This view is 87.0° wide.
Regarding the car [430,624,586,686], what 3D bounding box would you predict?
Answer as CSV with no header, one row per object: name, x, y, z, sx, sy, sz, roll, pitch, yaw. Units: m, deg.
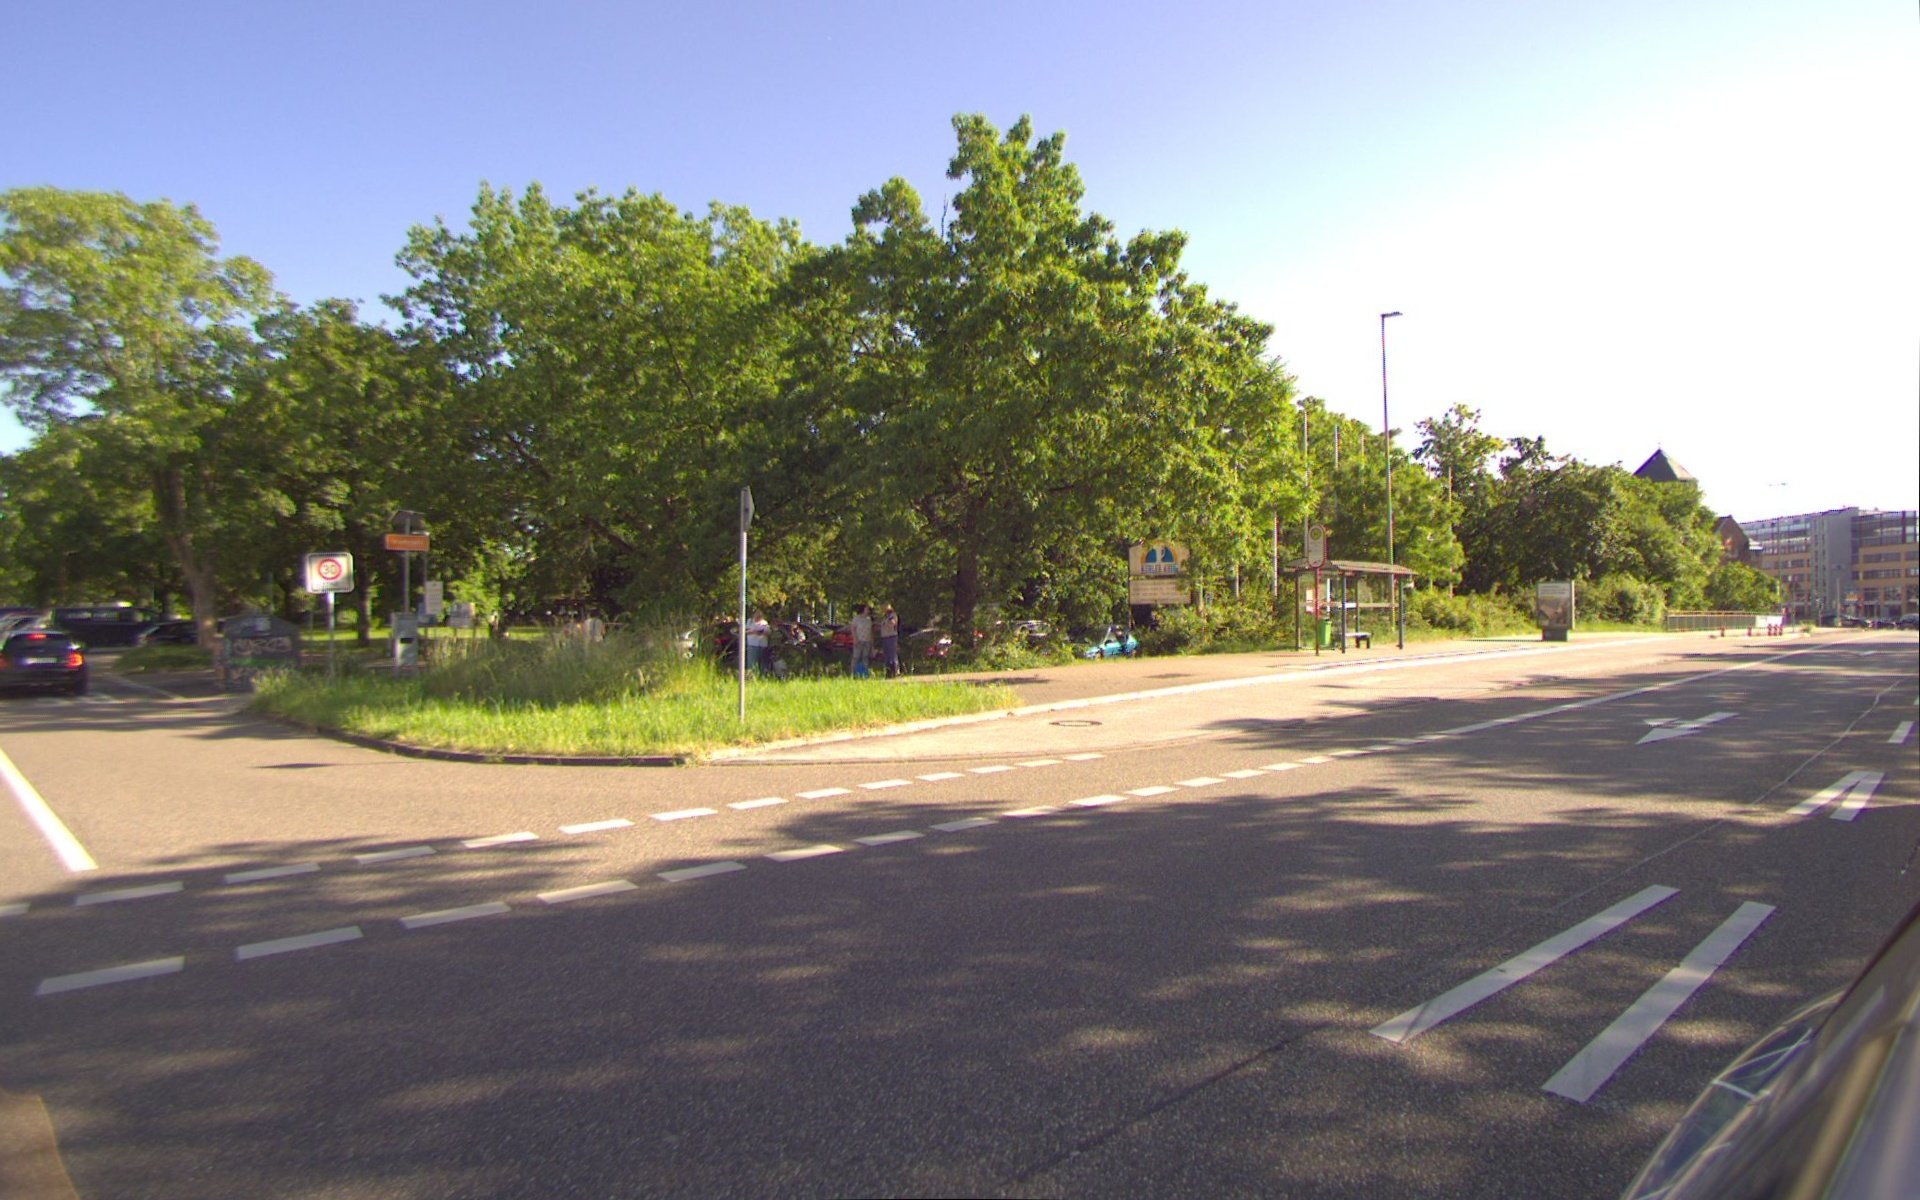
car,-13.707,1.633,30.792,3.930,1.628,1.996,-1,-1,-41

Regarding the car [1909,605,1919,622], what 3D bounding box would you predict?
car,84.036,1.183,86.919,1.801,1.492,3.987,-1,-1,10

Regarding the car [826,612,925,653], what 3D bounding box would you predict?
car,-3.699,1.413,44.616,3.929,1.616,1.997,-1,-1,-40

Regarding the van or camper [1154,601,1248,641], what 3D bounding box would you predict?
van or camper,12.215,1.020,51.011,2.448,1.937,5.247,-1,-1,42

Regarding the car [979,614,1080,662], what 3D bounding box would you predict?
car,2.713,1.435,38.956,3.932,1.685,1.607,0,-2,-42

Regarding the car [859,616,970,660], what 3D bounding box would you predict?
car,-1.896,1.672,43.402,4.694,1.773,1.754,3,-4,-41

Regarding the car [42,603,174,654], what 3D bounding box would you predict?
car,-36.744,1.198,43.763,4.276,2.100,1.996,0,-1,-41

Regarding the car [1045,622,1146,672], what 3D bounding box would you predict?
car,4.904,1.641,36.443,3.552,1.658,1.764,0,-1,-42

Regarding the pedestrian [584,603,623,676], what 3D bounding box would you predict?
pedestrian,-8.303,0.915,23.582,0.702,1.640,0.558,-3,-2,41

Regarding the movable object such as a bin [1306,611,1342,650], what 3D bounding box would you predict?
movable object such as a bin,9.920,0.832,27.587,0.568,1.043,0.727,1,-1,-44

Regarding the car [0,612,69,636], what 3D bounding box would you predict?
car,-68.542,1.760,74.746,1.993,1.677,3.938,-3,-1,43

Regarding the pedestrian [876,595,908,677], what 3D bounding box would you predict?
pedestrian,-1.471,0.766,21.777,0.403,1.722,0.602,1,-2,-44

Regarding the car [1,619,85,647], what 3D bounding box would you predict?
car,-59.990,2.149,66.224,1.993,1.677,3.938,-3,-1,43

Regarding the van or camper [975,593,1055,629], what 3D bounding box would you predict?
van or camper,3.534,0.713,64.090,2.447,2.186,5.249,-1,-1,40

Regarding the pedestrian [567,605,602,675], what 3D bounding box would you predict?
pedestrian,-8.971,0.948,24.174,0.596,1.640,0.558,-3,-2,41

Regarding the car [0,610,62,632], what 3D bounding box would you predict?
car,-75.222,1.696,81.709,1.993,1.677,3.938,-3,-1,43

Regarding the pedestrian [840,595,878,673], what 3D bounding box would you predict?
pedestrian,-2.190,0.729,21.888,0.542,1.655,0.622,1,-2,-43

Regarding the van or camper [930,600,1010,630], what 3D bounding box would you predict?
van or camper,0.729,0.962,66.573,2.448,1.937,5.247,-1,-1,42

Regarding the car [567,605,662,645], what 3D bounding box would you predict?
car,-12.272,0.878,35.873,3.635,1.290,1.600,-1,1,41

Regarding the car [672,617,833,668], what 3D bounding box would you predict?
car,-6.696,1.414,33.021,4.803,1.558,1.996,3,-4,-41

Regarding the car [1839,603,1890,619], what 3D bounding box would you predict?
car,99.498,1.213,111.344,1.967,1.653,3.988,0,-1,-44

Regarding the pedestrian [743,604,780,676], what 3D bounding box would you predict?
pedestrian,-4.332,0.868,22.074,0.603,1.538,0.528,0,-2,-41

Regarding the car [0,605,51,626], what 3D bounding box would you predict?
car,-82.710,1.352,89.075,1.993,1.677,3.938,-3,-1,43

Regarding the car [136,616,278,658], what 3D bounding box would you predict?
car,-26.574,1.287,35.862,3.926,1.314,1.999,-1,-1,-36

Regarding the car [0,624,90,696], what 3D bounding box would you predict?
car,-21.786,1.343,23.515,3.540,1.522,1.658,-1,-1,37
